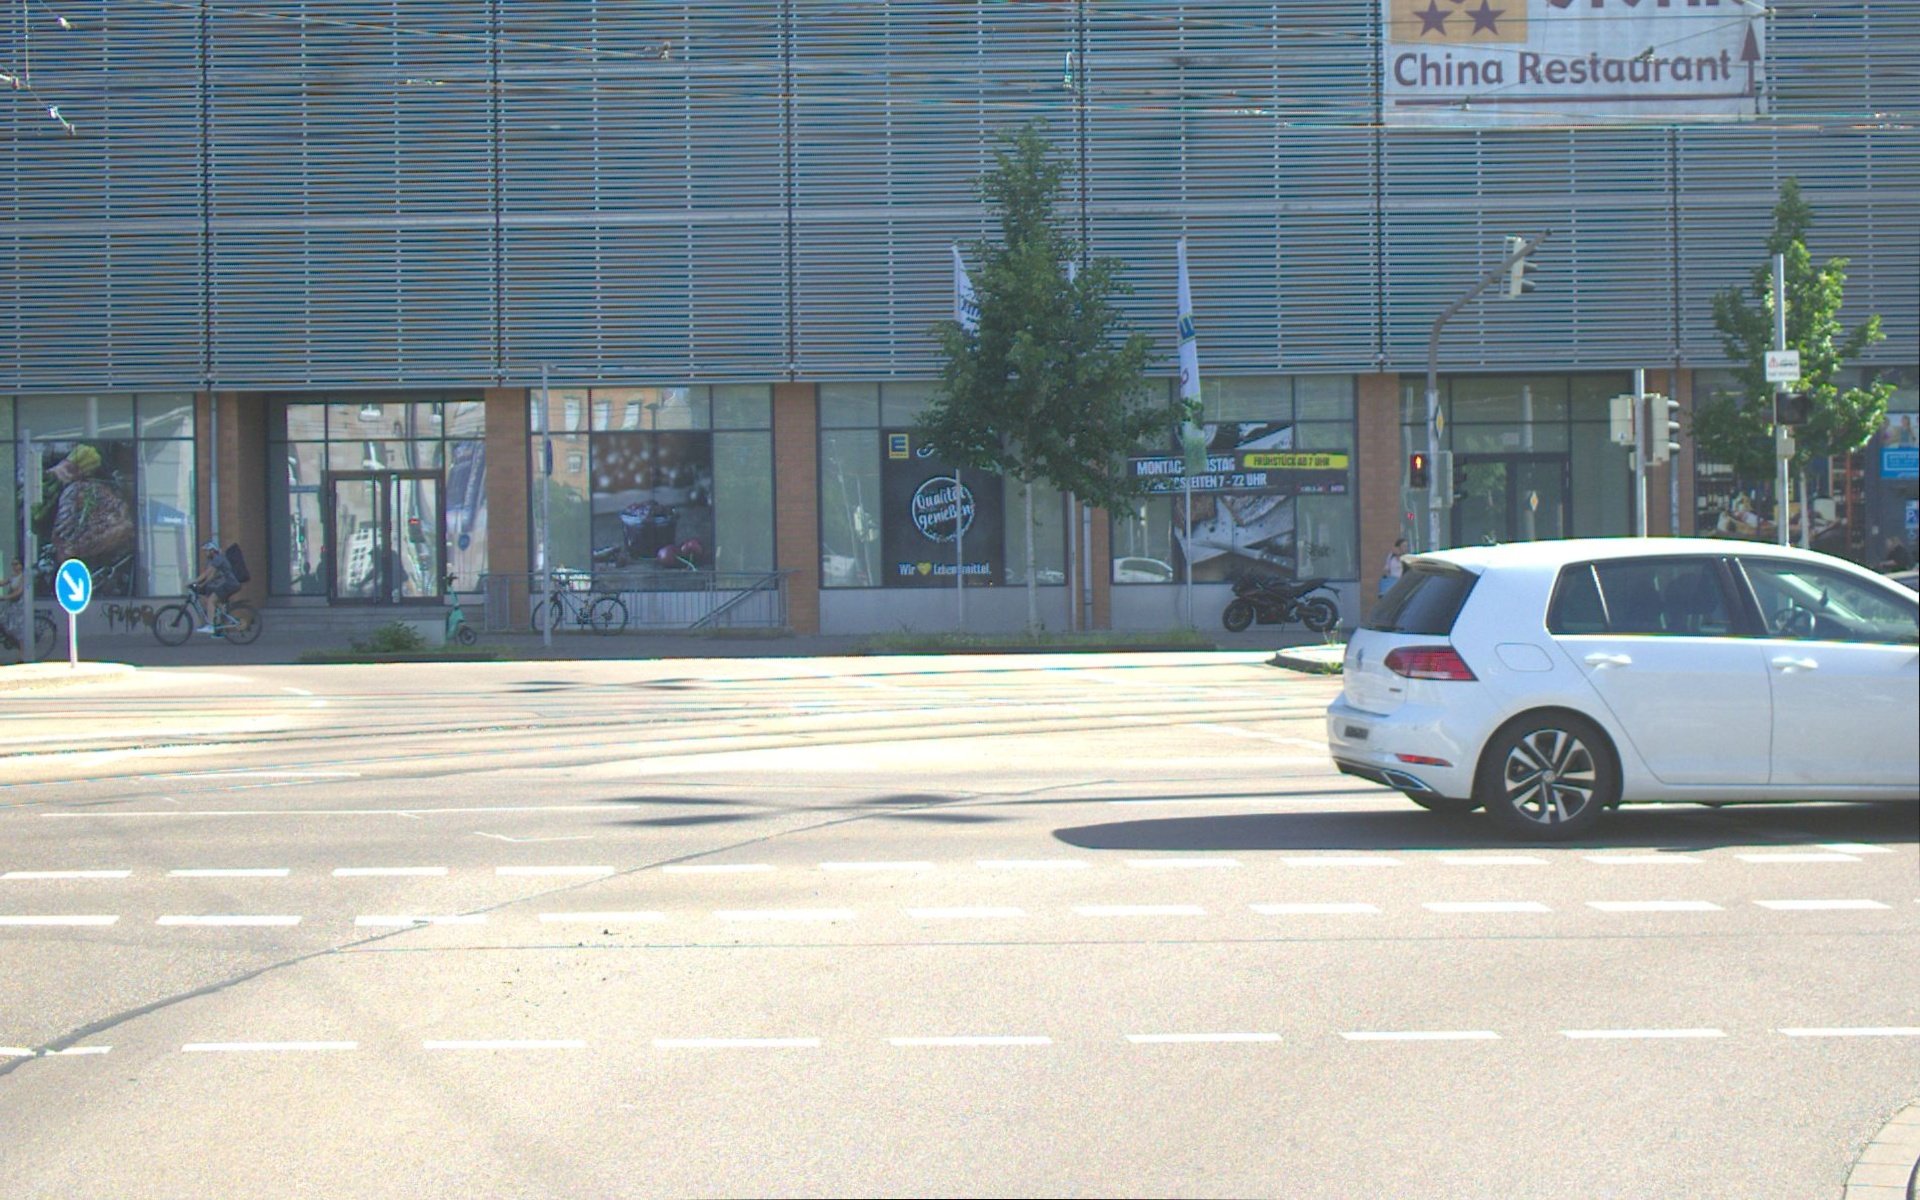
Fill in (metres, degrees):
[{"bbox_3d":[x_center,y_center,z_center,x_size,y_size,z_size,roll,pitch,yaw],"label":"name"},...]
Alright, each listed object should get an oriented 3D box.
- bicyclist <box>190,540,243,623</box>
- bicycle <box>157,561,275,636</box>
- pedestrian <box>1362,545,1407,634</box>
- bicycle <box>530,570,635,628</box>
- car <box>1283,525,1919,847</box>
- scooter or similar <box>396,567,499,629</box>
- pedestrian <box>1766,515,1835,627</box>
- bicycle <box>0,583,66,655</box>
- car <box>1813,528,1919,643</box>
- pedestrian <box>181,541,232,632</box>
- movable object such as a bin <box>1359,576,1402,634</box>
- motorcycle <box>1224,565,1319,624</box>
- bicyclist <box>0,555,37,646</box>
[{"bbox_3d":[-12.631,-0.312,58.428,0.753,1.382,0.565,-1,2,-1],"label":"bicyclist"},{"bbox_3d":[-12.638,-0.023,58.446,1.857,1.213,0.569,-1,2,-1],"label":"bicycle"},{"bbox_3d":[6.831,-0.176,55.270,0.655,1.409,0.849,1,0,10],"label":"pedestrian"},{"bbox_3d":[-6.650,-0.015,60.544,1.815,0.986,0.558,-1,2,-10],"label":"bicycle"},{"bbox_3d":[3.936,0.370,17.249,4.281,1.467,1.866,-1,1,-8],"label":"car"},{"bbox_3d":[-9.079,-0.045,60.926,1.792,1.062,0.613,0,2,-8],"label":"scooter or similar"},{"bbox_3d":[14.306,-0.487,58.546,0.950,1.822,0.845,-2,-3,5],"label":"pedestrian"},{"bbox_3d":[-15.246,0.312,54.862,0.568,1.082,1.859,1,3,43],"label":"bicycle"},{"bbox_3d":[13.741,-0.108,45.897,4.146,1.464,1.841,3,0,-1],"label":"car"},{"bbox_3d":[-13.360,-0.245,60.941,0.661,1.595,0.594,1,0,18],"label":"pedestrian"},{"bbox_3d":[6.712,0.080,54.809,0.613,0.901,0.968,1,0,10],"label":"movable object such as a bin"},{"bbox_3d":[5.494,-0.101,60.637,1.640,1.001,0.446,1,1,6],"label":"motorcycle"},{"bbox_3d":[-15.279,0.003,54.782,0.675,1.422,0.847,1,3,43],"label":"bicyclist"}]
